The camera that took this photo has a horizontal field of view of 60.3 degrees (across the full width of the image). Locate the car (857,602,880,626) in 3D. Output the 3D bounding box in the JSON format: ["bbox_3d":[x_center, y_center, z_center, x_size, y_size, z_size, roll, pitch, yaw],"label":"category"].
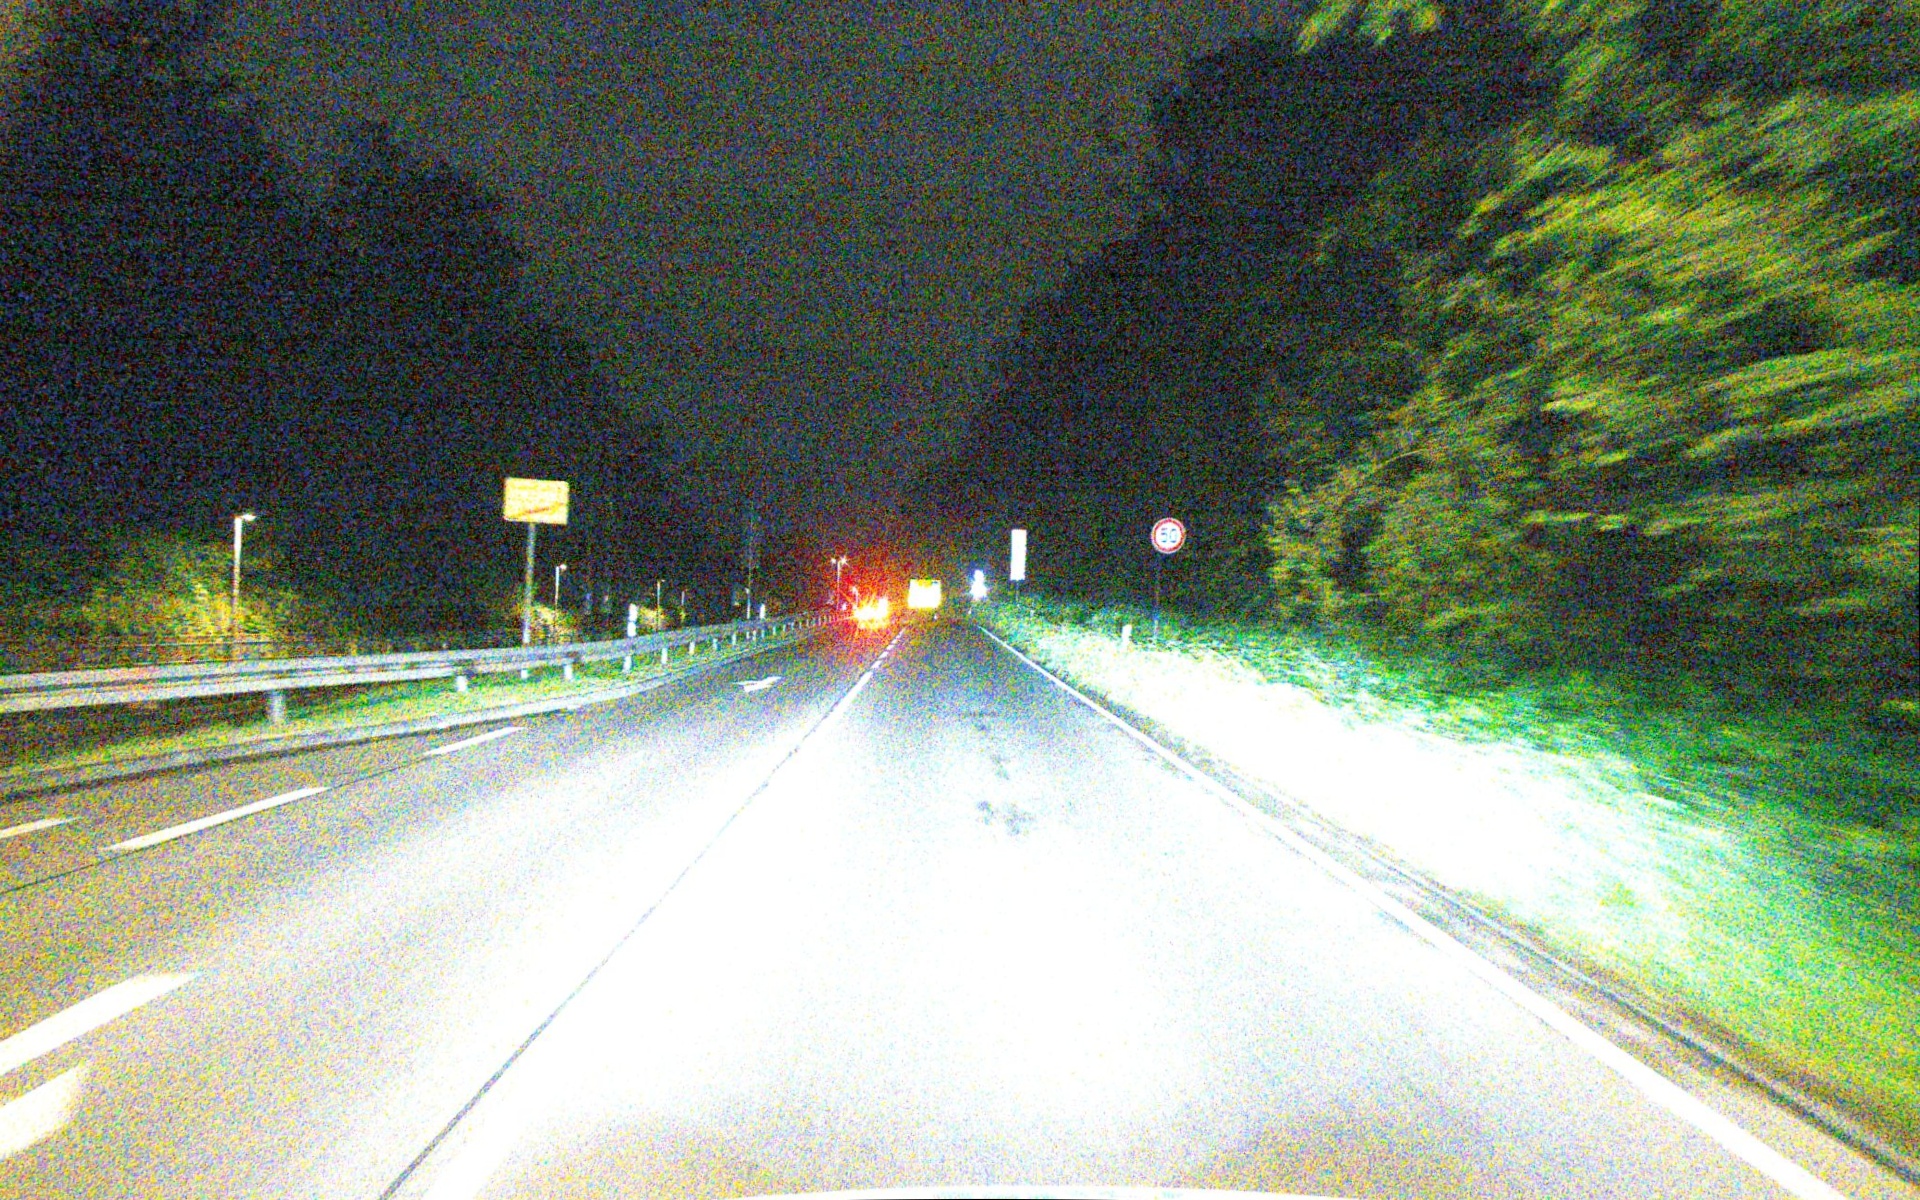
[{"bbox_3d":[-8.726,1.361,157.650,1.955,2.049,3.994,3,-3,-6],"label":"car"}]
